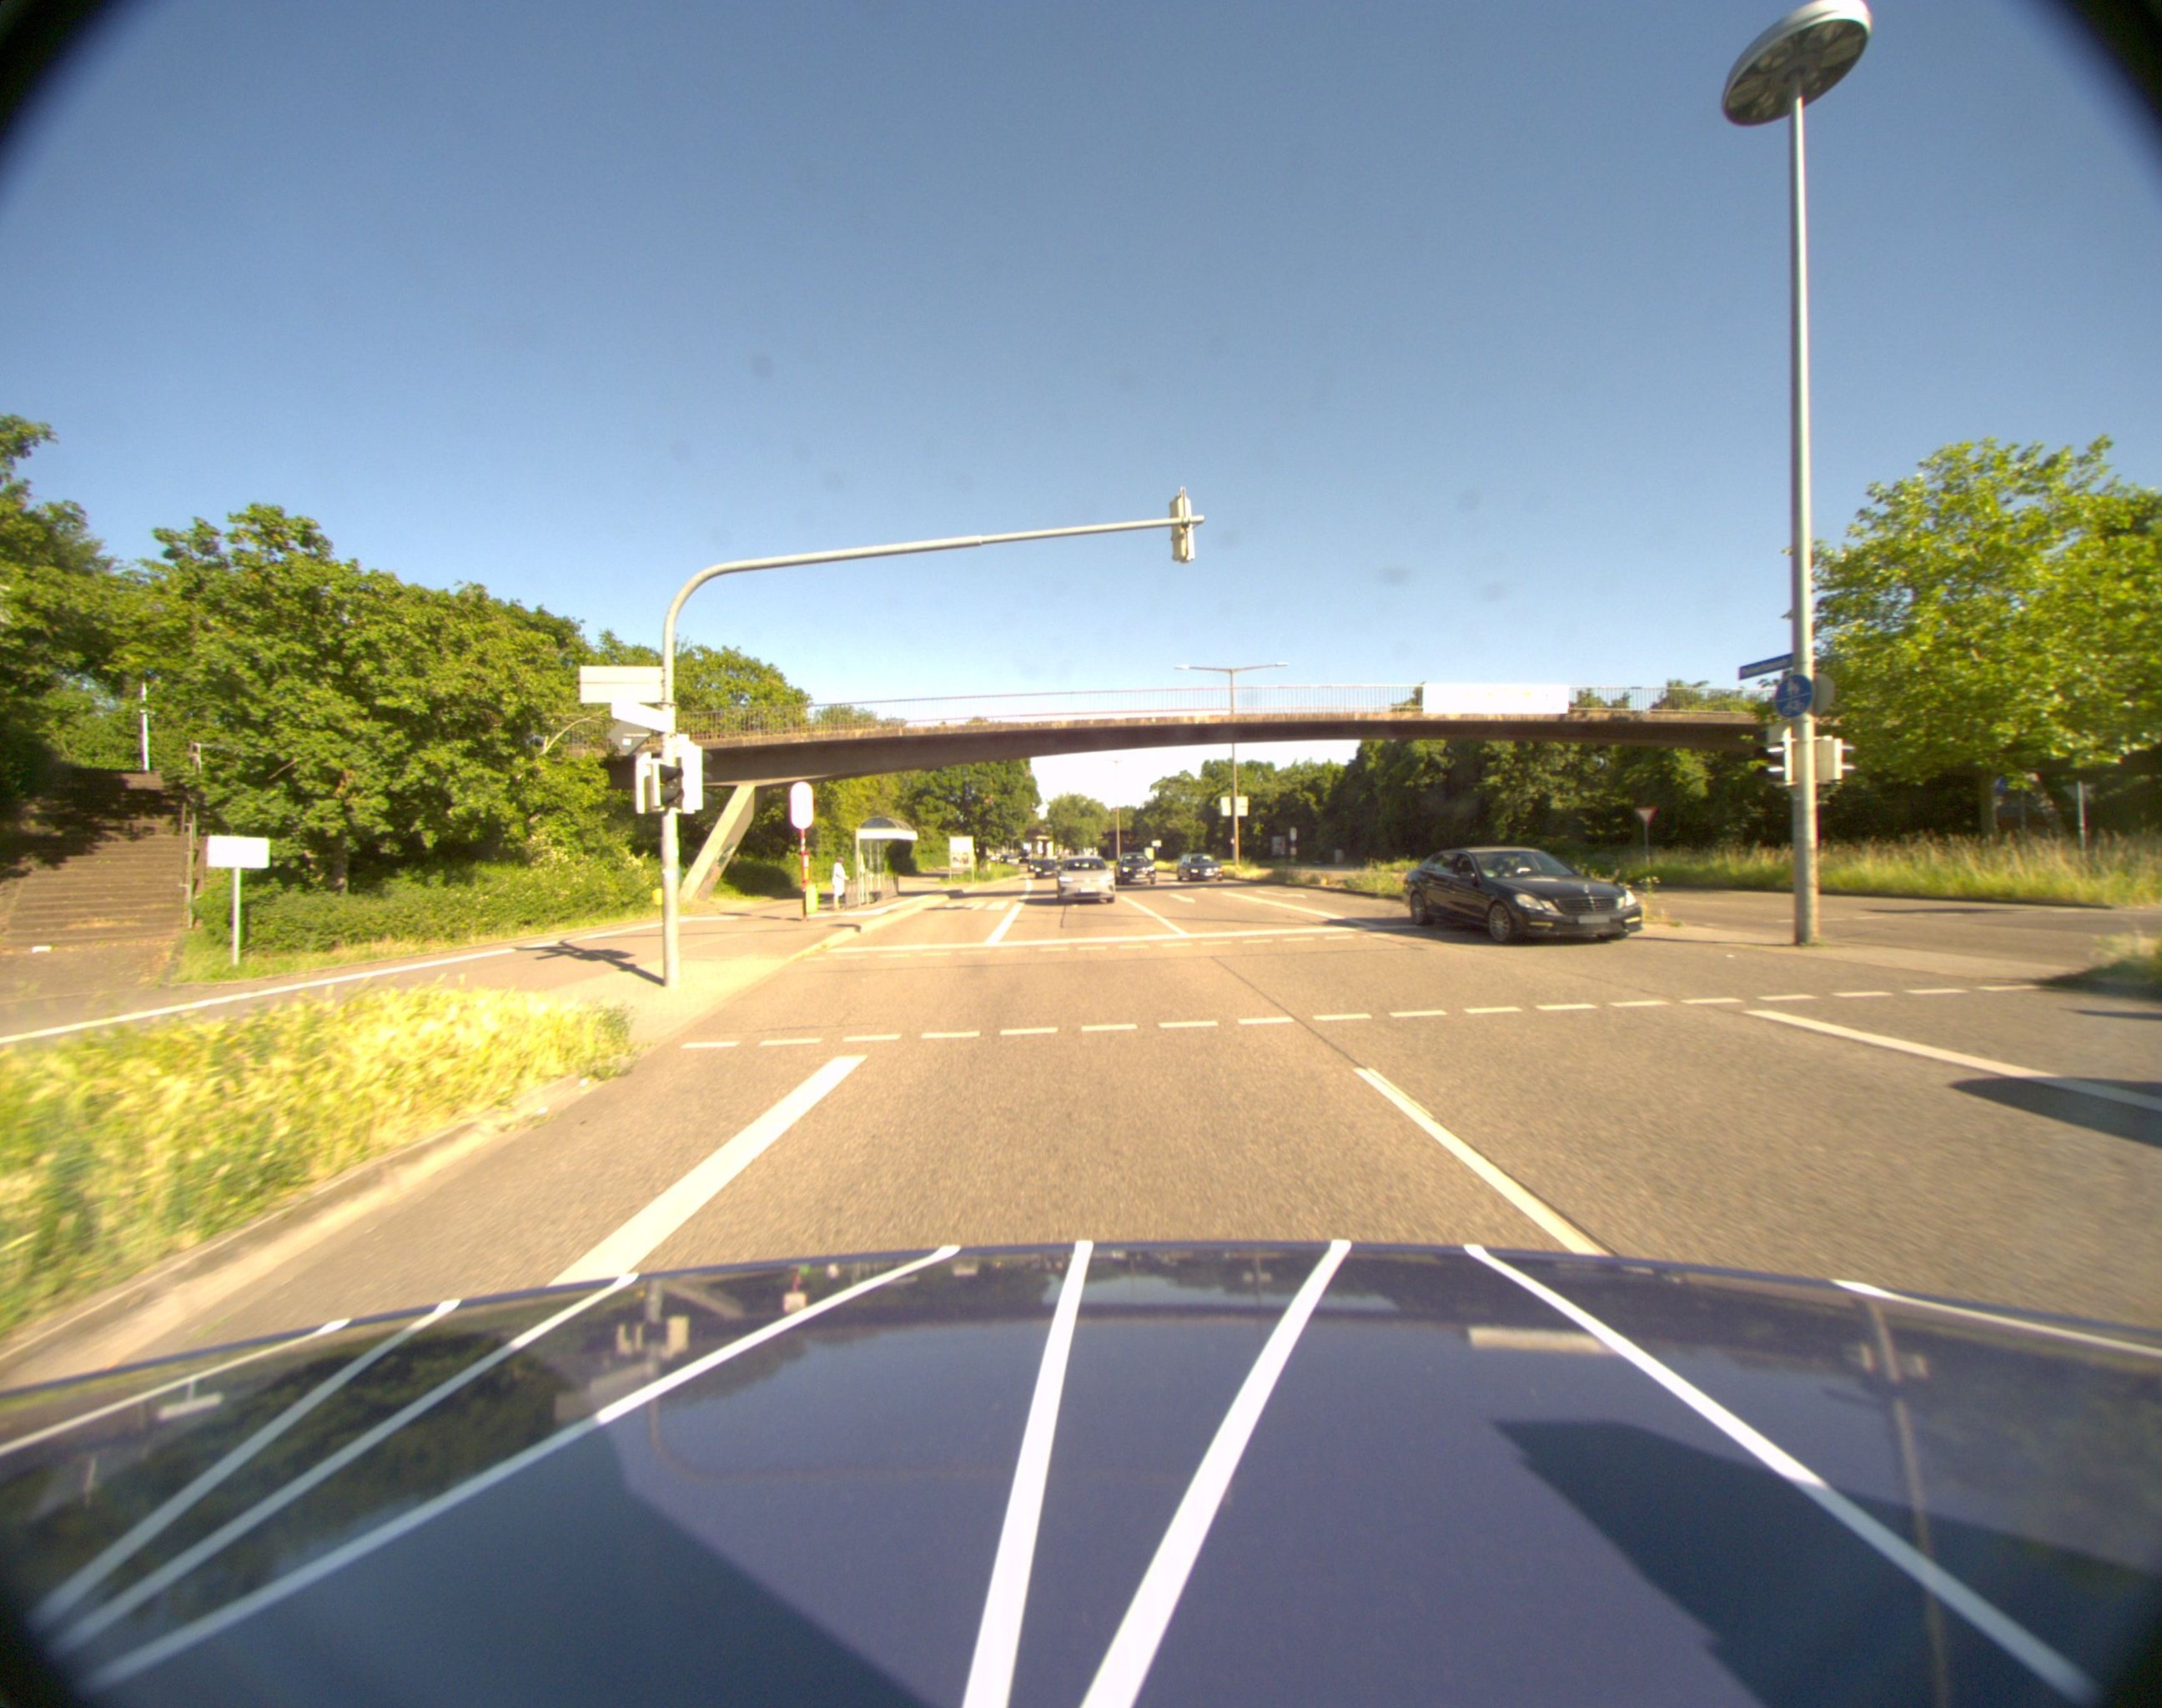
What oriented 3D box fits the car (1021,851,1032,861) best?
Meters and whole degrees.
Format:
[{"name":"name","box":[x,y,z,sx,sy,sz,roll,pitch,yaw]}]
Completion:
[{"name":"car","box":[-10.706,0.380,149.566,1.999,2.002,3.998,-2,0,-6]}]

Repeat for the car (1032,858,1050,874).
[{"name":"car","box":[-4.290,1.294,81.808,1.874,1.611,3.835,-2,0,-3]}]

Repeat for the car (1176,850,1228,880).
[{"name":"car","box":[6.502,0.577,41.235,1.796,1.487,3.999,-1,0,-6]}]

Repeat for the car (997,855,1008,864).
[{"name":"car","box":[-14.491,1.046,140.629,1.874,1.611,3.834,-2,0,-6]}]

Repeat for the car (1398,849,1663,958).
[{"name":"car","box":[7.232,0.688,12.885,1.778,1.478,4.529,-2,0,0]}]

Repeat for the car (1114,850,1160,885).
[{"name":"car","box":[2.868,0.670,39.731,1.714,1.653,3.854,-3,0,-5]}]

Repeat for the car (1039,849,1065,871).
[{"name":"car","box":[-2.248,0.443,58.475,1.874,1.611,3.835,-2,0,-3]}]

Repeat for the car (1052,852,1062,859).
[{"name":"car","box":[-5.512,0.298,174.311,1.874,1.611,3.833,-2,0,-9]}]

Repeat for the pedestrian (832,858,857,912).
[{"name":"pedestrian","box":[-7.370,0.947,23.694,0.589,1.652,0.716,-1,0,-4]}]

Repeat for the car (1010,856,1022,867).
[{"name":"car","box":[-10.733,1.227,125.258,1.874,1.611,3.834,-2,0,-6]}]

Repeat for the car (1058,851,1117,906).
[{"name":"car","box":[0.200,0.775,26.202,1.802,1.664,4.239,-2,0,0]}]
